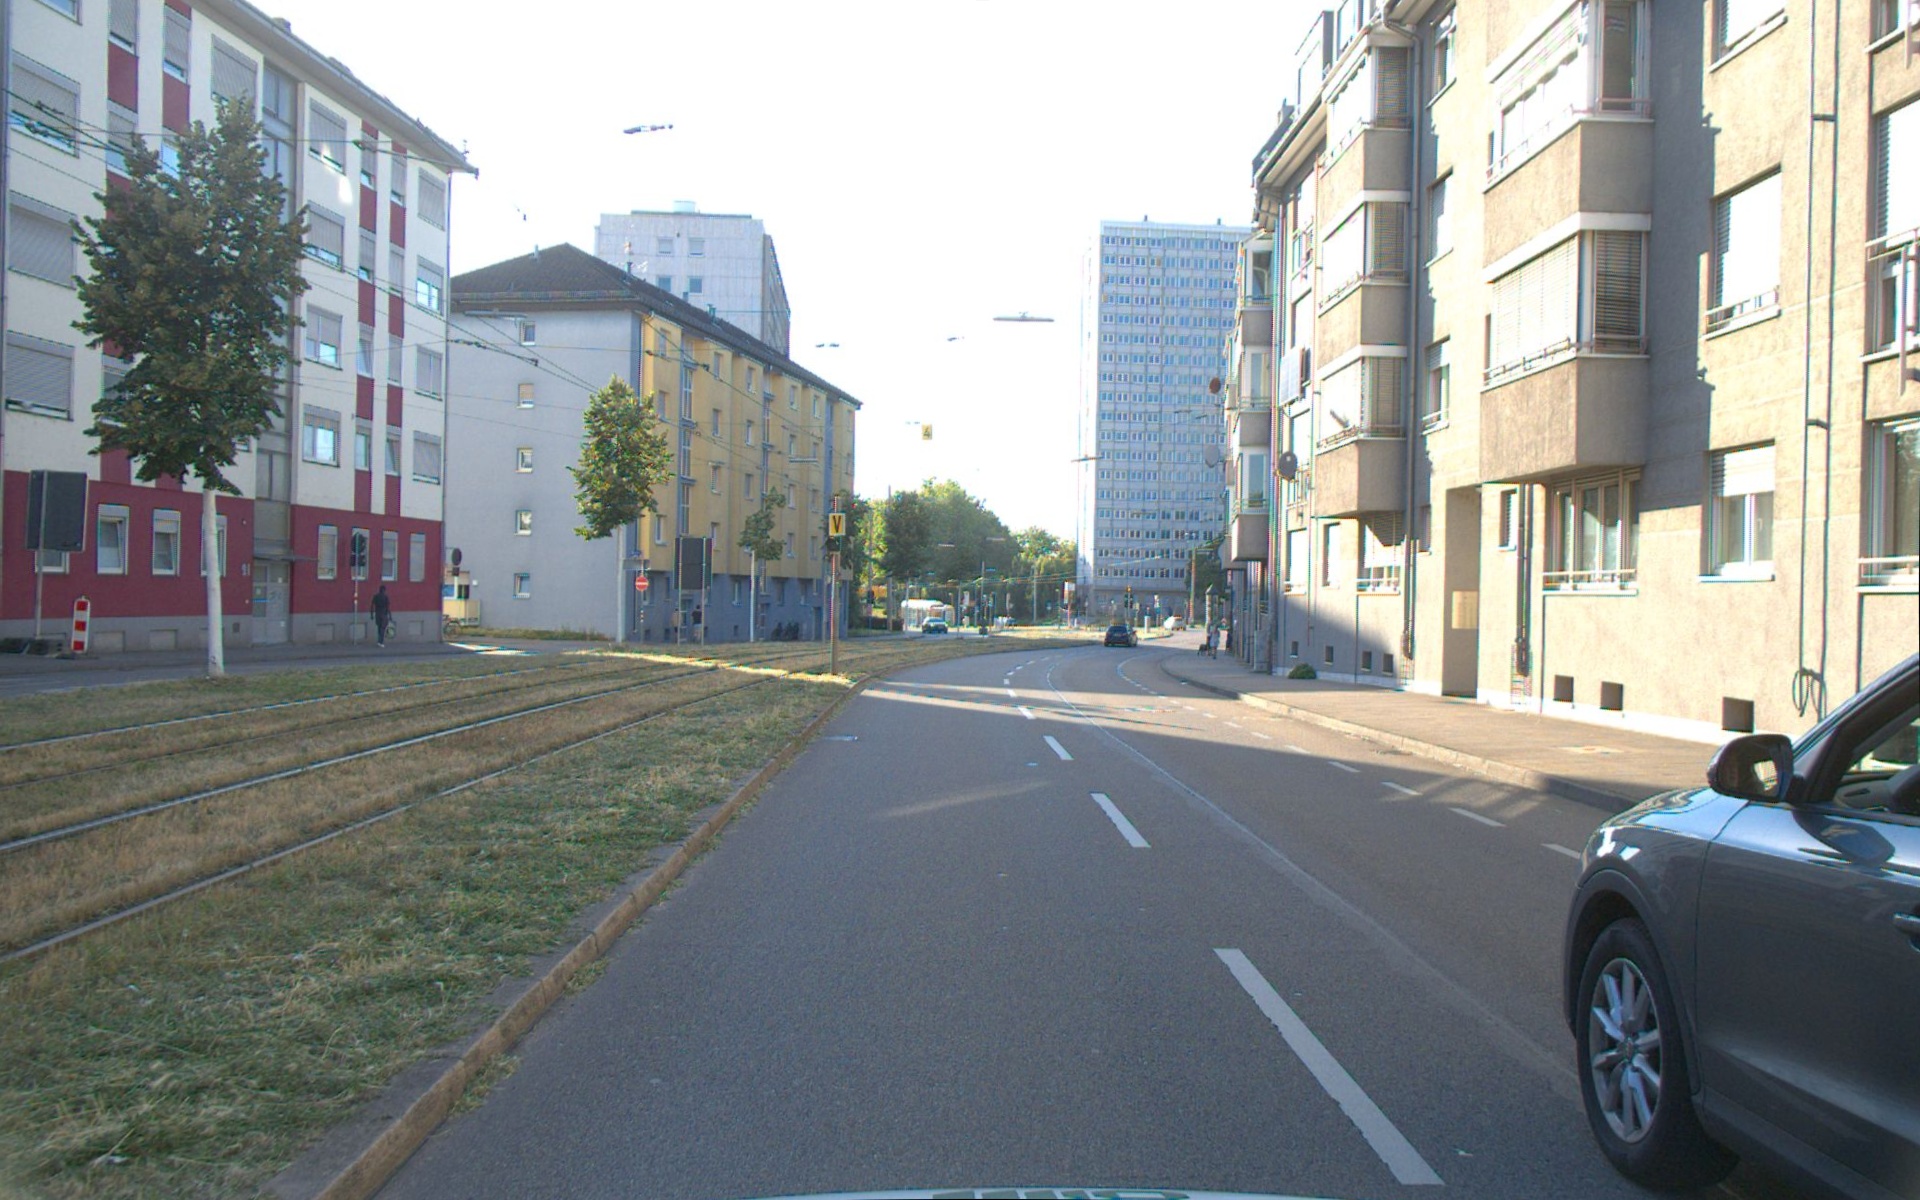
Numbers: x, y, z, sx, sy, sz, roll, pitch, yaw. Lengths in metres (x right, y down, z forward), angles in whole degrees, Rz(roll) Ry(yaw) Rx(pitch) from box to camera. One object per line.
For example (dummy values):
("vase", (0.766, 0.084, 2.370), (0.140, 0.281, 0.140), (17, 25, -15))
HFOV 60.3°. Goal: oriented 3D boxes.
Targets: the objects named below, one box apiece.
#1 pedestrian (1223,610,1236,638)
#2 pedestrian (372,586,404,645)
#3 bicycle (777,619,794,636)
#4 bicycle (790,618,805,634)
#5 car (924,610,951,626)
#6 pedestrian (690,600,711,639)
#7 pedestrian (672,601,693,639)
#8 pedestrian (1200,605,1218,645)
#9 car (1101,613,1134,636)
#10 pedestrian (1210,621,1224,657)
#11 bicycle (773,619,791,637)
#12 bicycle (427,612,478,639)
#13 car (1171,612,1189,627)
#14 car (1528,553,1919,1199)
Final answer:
("pedestrian", (12.317, 1.099, 75.667), (0.574, 1.273, 0.585), (0, 0, 9))
("pedestrian", (-17.044, 0.450, 49.295), (0.600, 1.719, 0.792), (1, 0, 4))
("bicycle", (-10.147, 1.591, 96.317), (0.418, 0.941, 1.913), (4, 0, 11))
("bicycle", (-9.702, 1.552, 98.790), (0.418, 0.977, 1.913), (0, 0, 11))
("car", (-2.134, 1.725, 158.403), (1.755, 1.495, 4.799), (-2, -1, 9))
("pedestrian", (-12.275, 0.916, 78.319), (0.580, 1.803, 0.886), (5, 1, 9))
("pedestrian", (-13.035, 0.937, 77.709), (0.603, 1.723, 0.707), (5, 1, 9))
("pedestrian", (11.497, 1.140, 76.383), (0.812, 1.803, 0.997), (0, 0, 9))
("car", (10.241, 1.594, 107.219), (1.734, 1.447, 3.859), (0, 0, 11))
("pedestrian", (9.982, 1.507, 64.295), (0.503, 1.368, 0.609), (0, -1, 6))
("bicycle", (-10.235, 1.600, 95.039), (0.418, 0.941, 1.913), (4, 0, 11))
("bicycle", (-21.010, 1.068, 68.477), (1.918, 1.094, 0.602), (1, -1, -8))
("car", (24.497, 2.113, 184.228), (1.951, 1.556, 4.003), (1, 1, 7))
("car", (2.662, 0.726, 3.072), (1.731, 1.615, 4.067), (0, 0, -2))
